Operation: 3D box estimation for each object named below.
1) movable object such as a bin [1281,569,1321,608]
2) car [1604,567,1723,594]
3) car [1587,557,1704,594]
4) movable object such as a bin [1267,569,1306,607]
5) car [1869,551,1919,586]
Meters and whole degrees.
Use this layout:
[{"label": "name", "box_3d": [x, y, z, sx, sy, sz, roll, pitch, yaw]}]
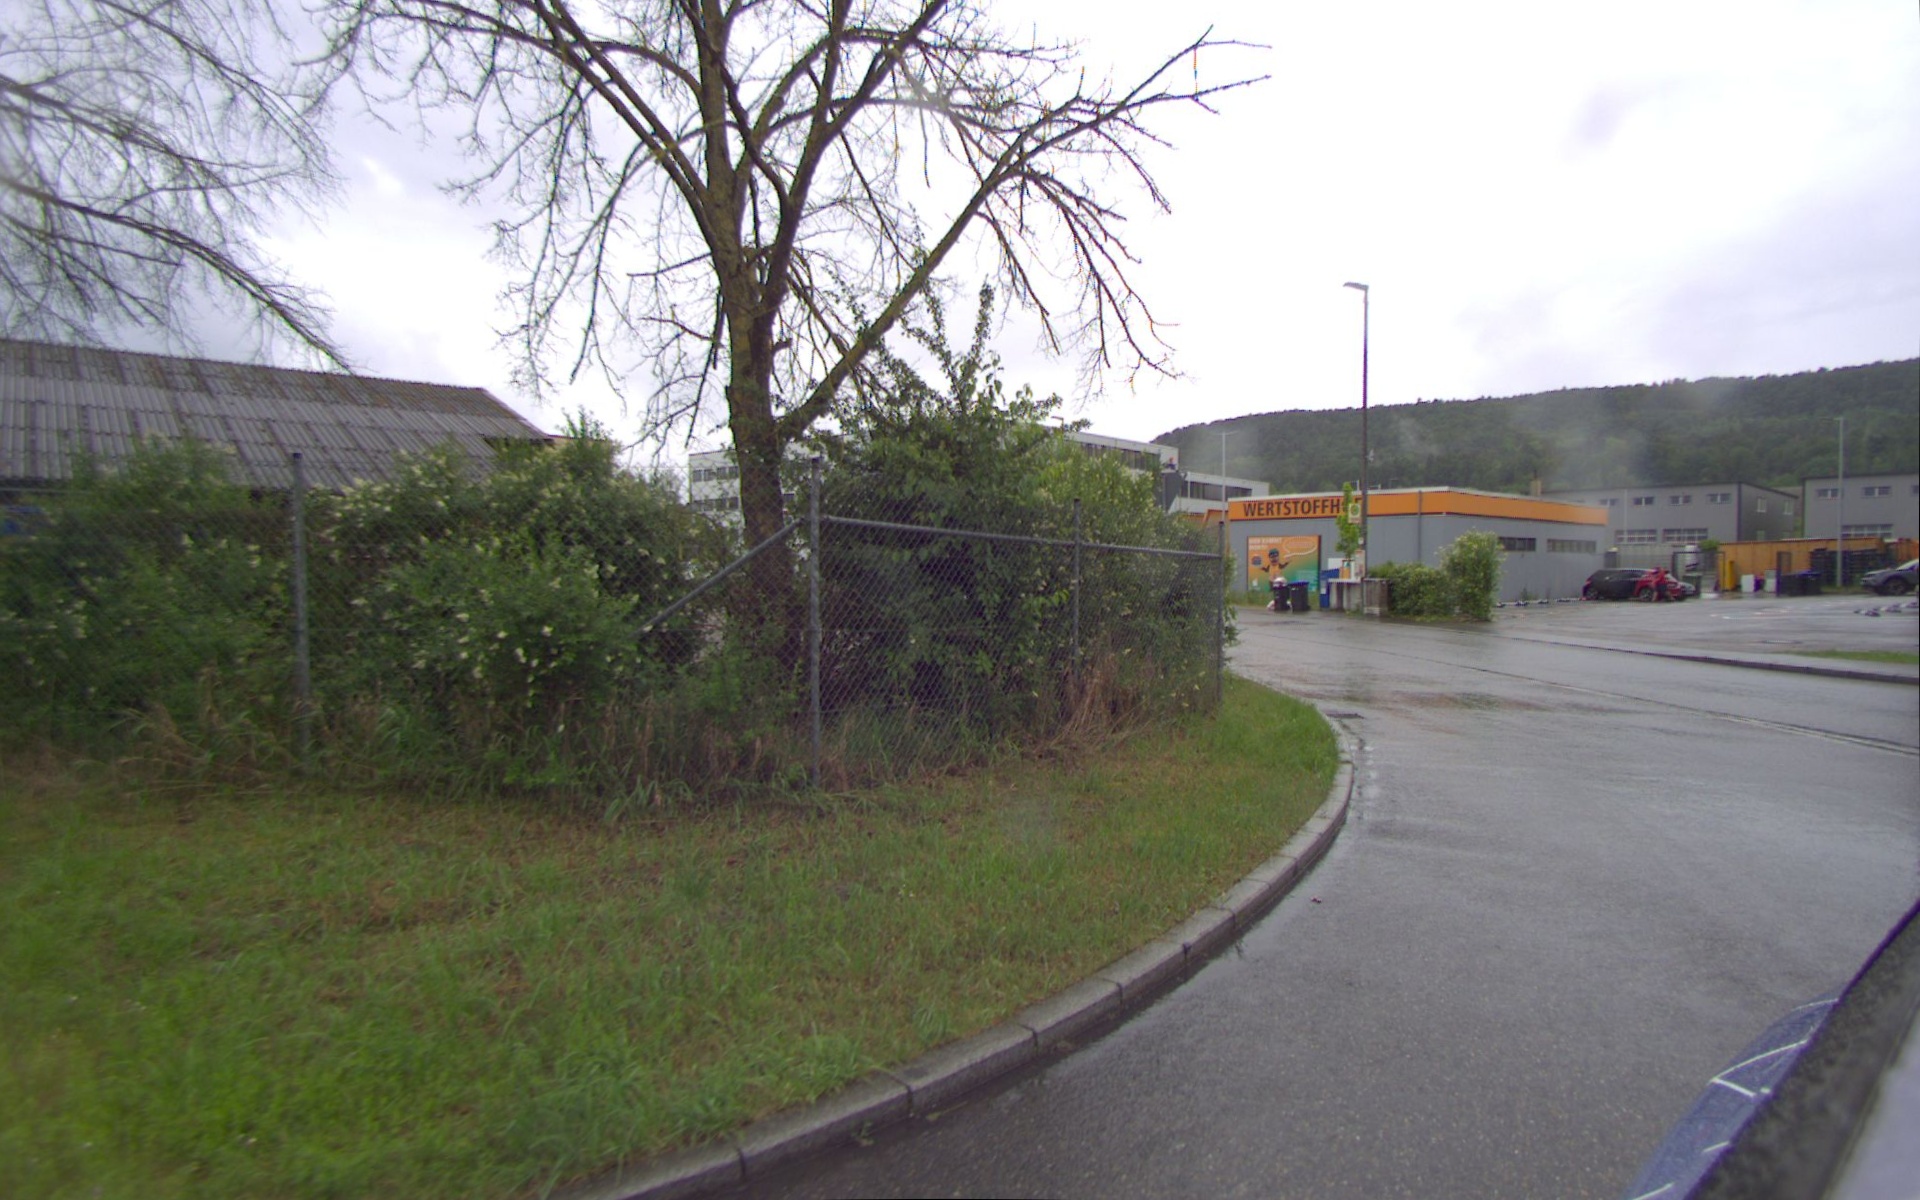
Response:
[{"label": "movable object such as a bin", "box_3d": [11.953, -0.423, 35.519, 0.961, 1.339, 1.005, 0, 2, -10]}, {"label": "car", "box_3d": [32.774, -0.945, 47.270, 1.893, 1.175, 4.204, -1, 2, -26]}, {"label": "car", "box_3d": [30.762, -1.119, 45.544, 1.883, 1.594, 4.009, 0, 2, -19]}, {"label": "movable object such as a bin", "box_3d": [11.770, -0.456, 36.522, 0.961, 1.339, 1.005, 0, 2, -10]}, {"label": "car", "box_3d": [39.888, -1.256, 41.020, 4.165, 1.404, 1.978, 1, 2, 32]}]
